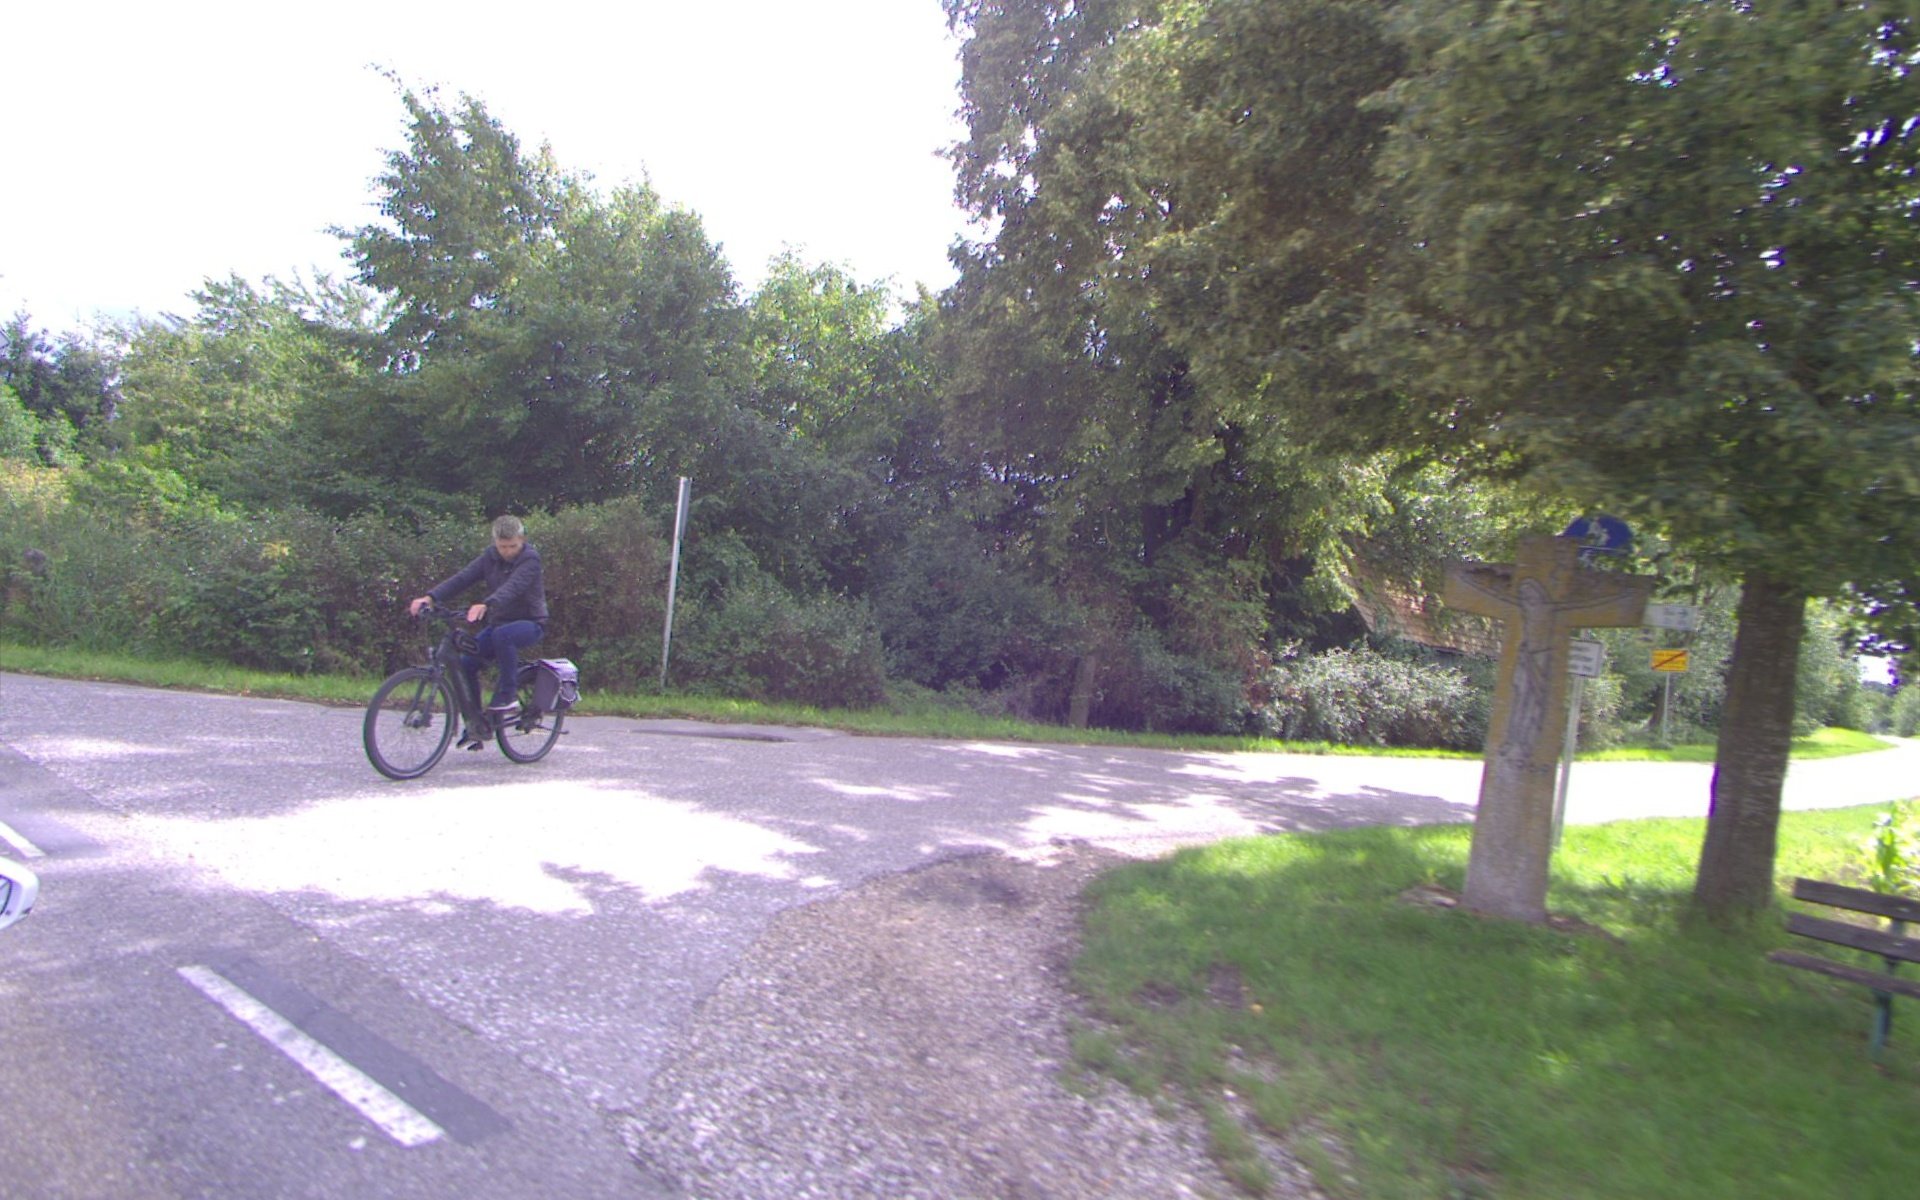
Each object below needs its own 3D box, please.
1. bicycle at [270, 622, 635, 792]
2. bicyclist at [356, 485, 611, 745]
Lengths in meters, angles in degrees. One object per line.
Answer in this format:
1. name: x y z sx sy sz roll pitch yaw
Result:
1. bicycle: -3.445 0.704 7.127 1.034 0.874 2.124 8 -1 18
2. bicyclist: -3.353 0.114 7.166 1.034 1.604 1.021 8 -1 18
